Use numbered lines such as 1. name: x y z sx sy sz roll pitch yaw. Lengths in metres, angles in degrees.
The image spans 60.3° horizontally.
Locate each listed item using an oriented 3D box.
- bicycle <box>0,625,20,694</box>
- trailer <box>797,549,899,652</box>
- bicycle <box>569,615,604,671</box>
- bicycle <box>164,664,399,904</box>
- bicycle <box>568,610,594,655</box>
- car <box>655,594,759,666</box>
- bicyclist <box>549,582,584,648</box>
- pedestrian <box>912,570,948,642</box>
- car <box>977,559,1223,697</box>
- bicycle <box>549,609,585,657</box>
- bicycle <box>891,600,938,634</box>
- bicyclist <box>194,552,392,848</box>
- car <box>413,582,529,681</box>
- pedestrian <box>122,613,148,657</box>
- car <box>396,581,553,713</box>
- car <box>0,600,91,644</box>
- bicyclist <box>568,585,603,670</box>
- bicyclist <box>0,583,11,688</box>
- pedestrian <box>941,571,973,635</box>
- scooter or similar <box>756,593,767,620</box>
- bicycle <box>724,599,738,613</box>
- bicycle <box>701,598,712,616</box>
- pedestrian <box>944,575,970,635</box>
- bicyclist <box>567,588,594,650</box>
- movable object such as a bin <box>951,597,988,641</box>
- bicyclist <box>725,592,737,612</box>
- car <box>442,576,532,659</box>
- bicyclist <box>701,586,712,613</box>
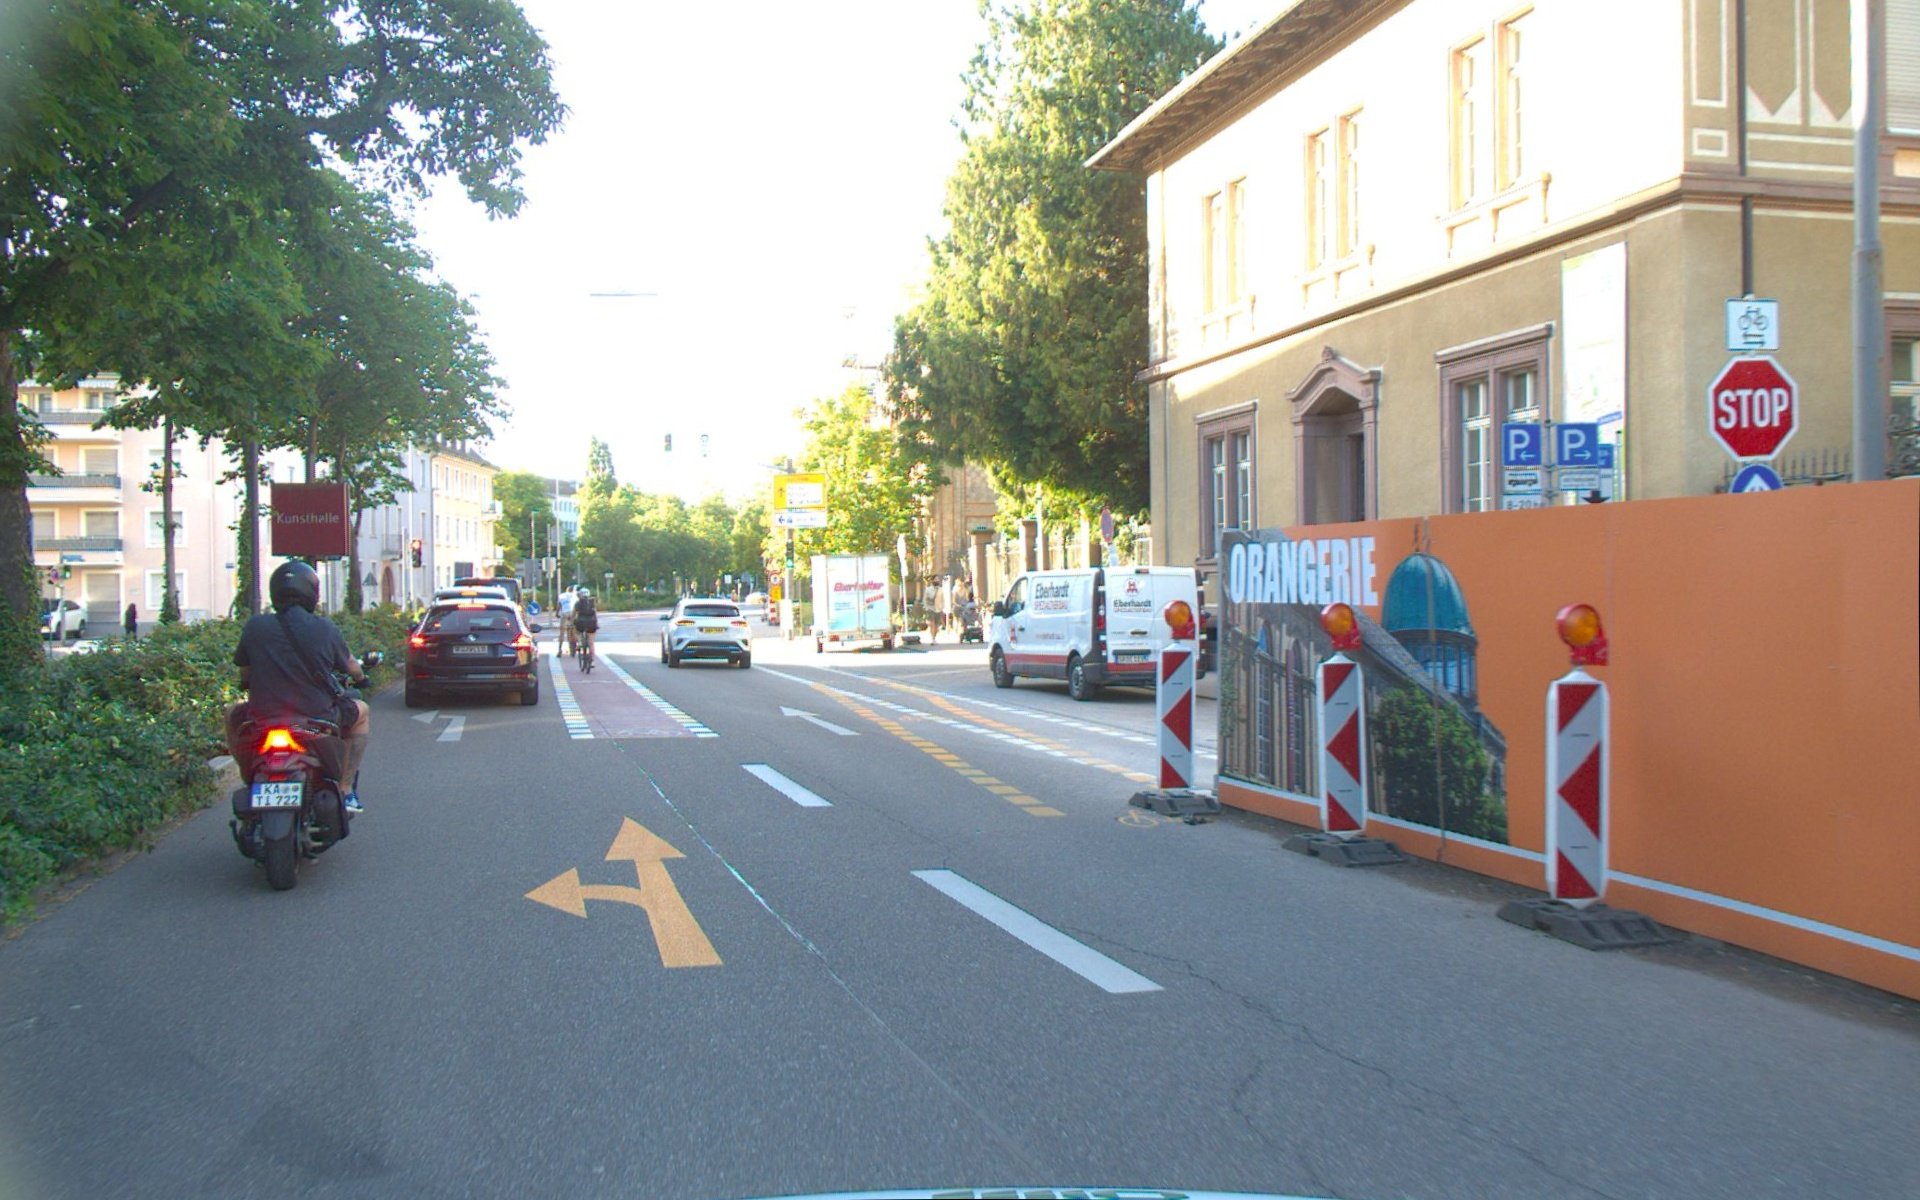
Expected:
1. bicycle: -17.487 1.103 29.217 0.866 1.215 2.167 -4 1 -13
2. trailer: -3.149 -0.012 45.557 2.043 2.572 4.478 -3 1 -12
3. bicycle: -7.538 0.853 33.389 0.657 1.091 1.747 0 0 -13
4. bicycle: -3.729 0.944 9.313 0.855 1.061 2.445 0 0 -14
5. bicycle: -10.311 0.863 45.058 0.630 1.175 2.071 0 0 -11
6. car: -5.745 0.641 37.227 1.960 1.478 3.986 -2 0 -14
7. bicyclist: -10.054 0.378 42.241 0.788 1.636 0.823 -1 0 -11
8. pedestrian: -0.830 0.148 45.324 0.703 1.927 0.886 -2 1 -16
9. car: 2.079 0.415 26.570 1.983 1.979 5.452 0 0 -18
10. bicycle: -10.037 0.824 42.263 0.814 1.163 1.964 0 0 -11
11. bicycle: -1.500 0.542 54.435 1.441 1.057 0.477 -2 1 -14
12. bicyclist: -3.736 0.527 9.370 0.853 1.550 1.226 1 0 -14
13. car: -9.706 0.569 33.133 1.957 1.780 4.730 -2 1 -14
14. pedestrian: -30.605 1.298 61.363 0.620 1.611 0.816 2 0 -11
15. car: -7.067 0.611 24.180 1.961 1.686 4.715 -1 0 -16
16. car: -38.317 0.882 69.432 1.958 1.715 4.602 -1 1 -11
17. bicyclist: -7.537 0.542 33.260 0.661 1.681 0.884 0 0 -13
18. bicyclist: -17.487 0.661 29.143 0.866 1.866 1.281 -4 1 -14
19. pedestrian: -0.089 0.073 45.846 0.671 1.731 0.691 -2 1 -15
20. scooter or similar: -10.111 0.309 84.301 0.545 1.331 1.830 -1 1 -6
21. bicycle: -18.092 0.477 130.813 0.737 1.044 1.870 0 0 2
22. bicycle: -15.616 0.438 101.925 0.631 1.042 2.209 0 0 -7
23. pedestrian: -0.100 0.141 50.595 0.628 1.799 0.736 -1 0 -11
24. bicyclist: -10.300 0.505 44.942 0.658 1.636 0.823 -1 0 -11
25. movable object such as a bin: 0.257 0.512 45.036 0.700 1.137 1.046 -3 1 -16
26. bicyclist: -18.101 0.119 130.862 0.732 1.564 0.970 -1 0 2
27. car: -12.192 0.435 42.865 2.033 1.949 5.014 -2 0 -14
28. bicyclist: -15.654 -0.032 102.153 0.624 1.642 1.282 0 0 -7
